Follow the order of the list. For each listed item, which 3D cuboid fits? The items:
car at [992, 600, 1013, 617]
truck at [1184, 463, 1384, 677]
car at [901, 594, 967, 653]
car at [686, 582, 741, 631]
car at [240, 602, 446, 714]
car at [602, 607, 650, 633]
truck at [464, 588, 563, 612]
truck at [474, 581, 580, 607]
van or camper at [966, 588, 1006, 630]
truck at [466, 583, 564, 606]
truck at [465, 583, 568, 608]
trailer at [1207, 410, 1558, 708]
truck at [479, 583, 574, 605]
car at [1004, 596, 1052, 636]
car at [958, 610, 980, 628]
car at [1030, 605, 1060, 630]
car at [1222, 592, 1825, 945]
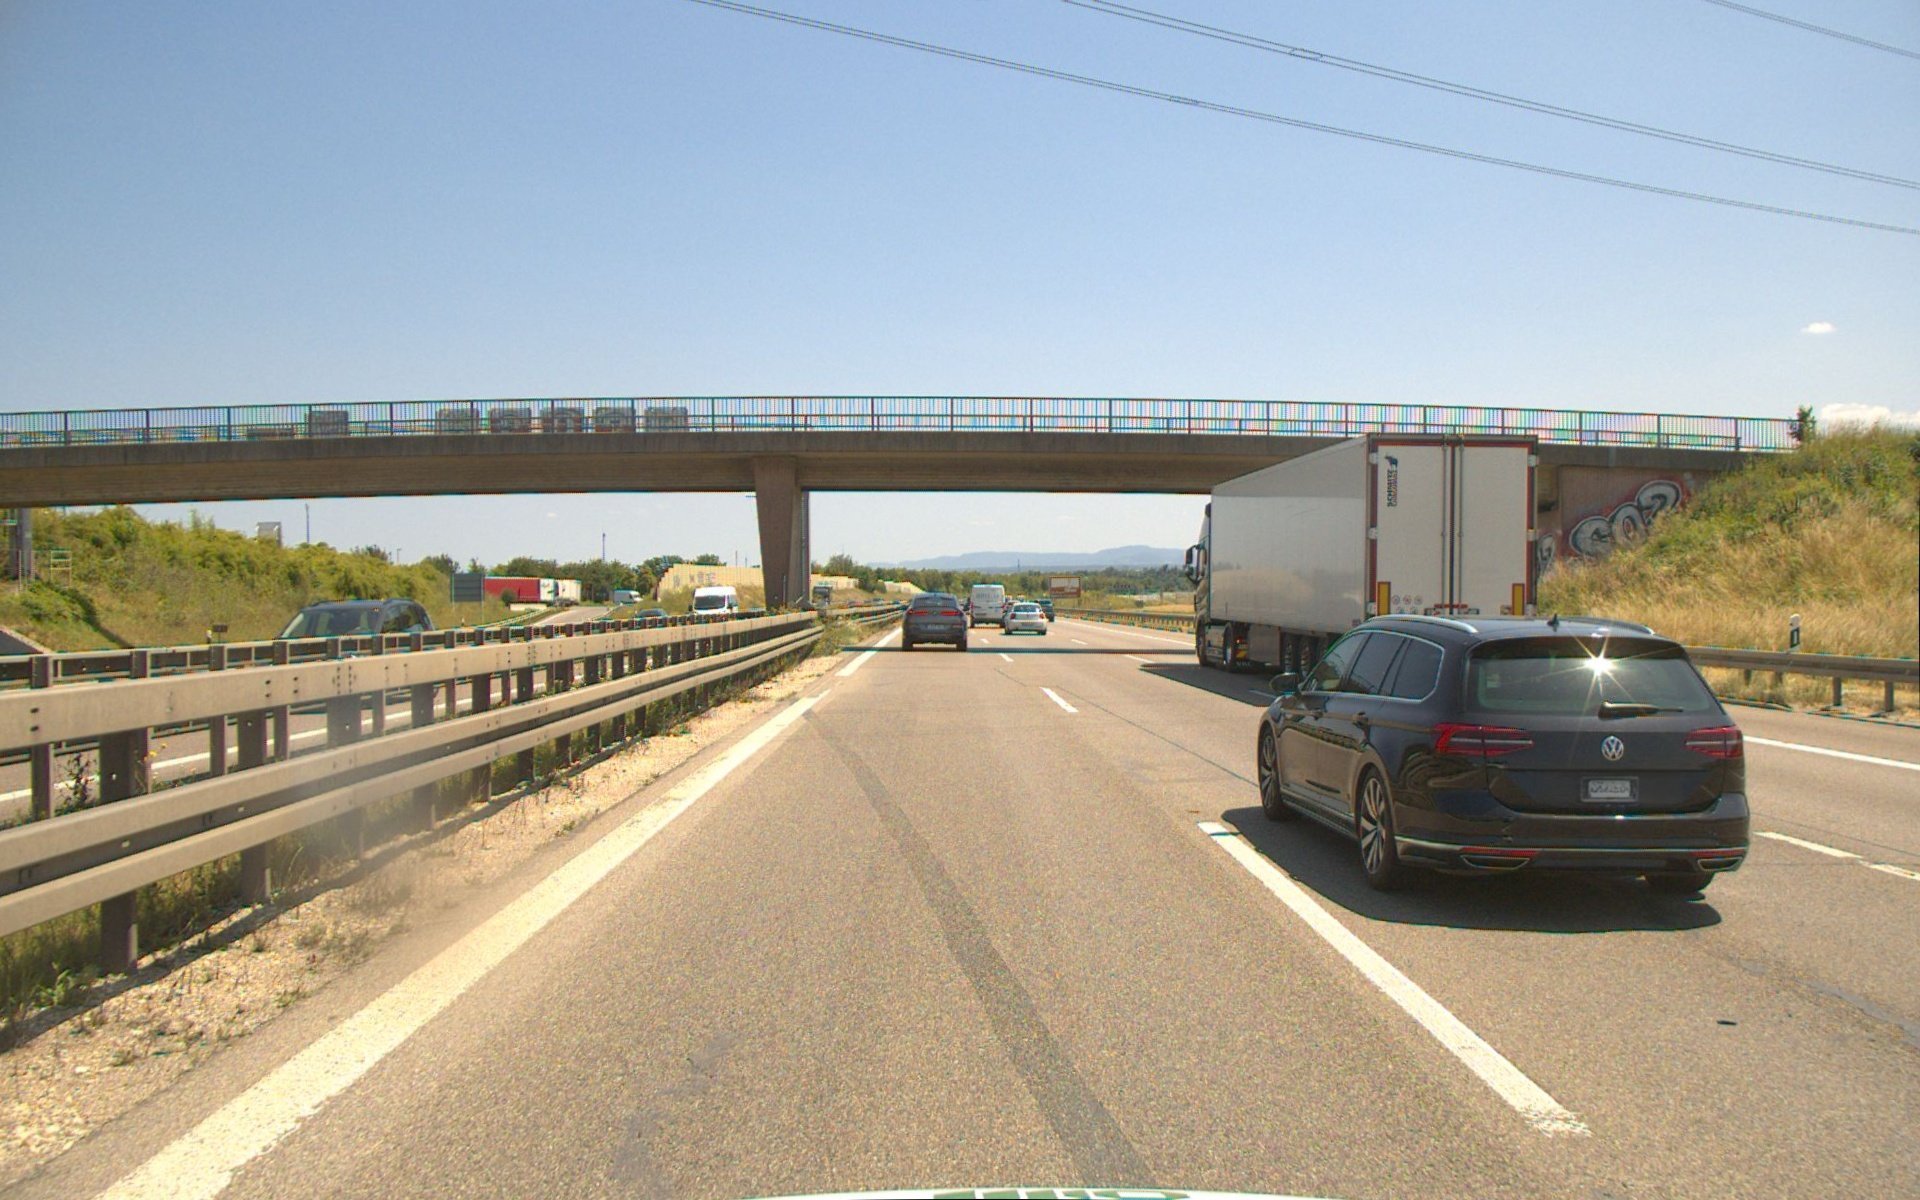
[{"bbox_3d":[4.196,0.823,163.278,1.953,1.712,3.999,1,0,-1],"label":"car"},{"bbox_3d":[7.074,-0.596,37.311,2.918,4.301,7.686,1,0,-1],"label":"truck"},{"bbox_3d":[-0.820,0.692,50.196,1.814,1.693,3.732,1,0,-4],"label":"car"},{"bbox_3d":[-13.572,0.357,91.469,2.155,2.553,6.329,1,0,-1],"label":"car"},{"bbox_3d":[-9.651,0.849,26.192,1.801,1.628,3.999,0,0,-1],"label":"car"},{"bbox_3d":[-19.134,1.135,94.960,1.953,1.422,3.999,1,0,-1],"label":"car"},{"bbox_3d":[-63.549,0.030,235.883,14.349,3.194,2.618,1,0,-45],"label":"truck"},{"bbox_3d":[-57.619,-0.758,220.820,14.349,3.194,2.618,1,0,-45],"label":"truck"},{"bbox_3d":[1.431,0.500,92.218,2.067,2.250,5.264,1,0,-1],"label":"van or camper"},{"bbox_3d":[-64.380,-0.762,239.656,14.349,3.194,2.618,1,0,-45],"label":"truck"},{"bbox_3d":[-60.941,-0.591,227.573,14.349,3.194,2.618,1,0,-45],"label":"truck"},{"bbox_3d":[7.114,-0.585,30.652,2.883,4.271,13.594,1,0,-1],"label":"trailer"},{"bbox_3d":[-64.063,-0.865,244.893,14.349,3.194,2.618,1,0,-45],"label":"truck"},{"bbox_3d":[3.019,0.707,74.566,1.953,1.712,3.999,1,0,-1],"label":"car"},{"bbox_3d":[0.853,1.790,158.514,1.953,1.712,3.999,1,0,-1],"label":"car"},{"bbox_3d":[6.193,1.259,120.968,1.953,1.712,3.999,1,0,-1],"label":"car"},{"bbox_3d":[2.985,0.777,10.057,1.894,1.602,4.933,1,0,-1],"label":"car"}]
